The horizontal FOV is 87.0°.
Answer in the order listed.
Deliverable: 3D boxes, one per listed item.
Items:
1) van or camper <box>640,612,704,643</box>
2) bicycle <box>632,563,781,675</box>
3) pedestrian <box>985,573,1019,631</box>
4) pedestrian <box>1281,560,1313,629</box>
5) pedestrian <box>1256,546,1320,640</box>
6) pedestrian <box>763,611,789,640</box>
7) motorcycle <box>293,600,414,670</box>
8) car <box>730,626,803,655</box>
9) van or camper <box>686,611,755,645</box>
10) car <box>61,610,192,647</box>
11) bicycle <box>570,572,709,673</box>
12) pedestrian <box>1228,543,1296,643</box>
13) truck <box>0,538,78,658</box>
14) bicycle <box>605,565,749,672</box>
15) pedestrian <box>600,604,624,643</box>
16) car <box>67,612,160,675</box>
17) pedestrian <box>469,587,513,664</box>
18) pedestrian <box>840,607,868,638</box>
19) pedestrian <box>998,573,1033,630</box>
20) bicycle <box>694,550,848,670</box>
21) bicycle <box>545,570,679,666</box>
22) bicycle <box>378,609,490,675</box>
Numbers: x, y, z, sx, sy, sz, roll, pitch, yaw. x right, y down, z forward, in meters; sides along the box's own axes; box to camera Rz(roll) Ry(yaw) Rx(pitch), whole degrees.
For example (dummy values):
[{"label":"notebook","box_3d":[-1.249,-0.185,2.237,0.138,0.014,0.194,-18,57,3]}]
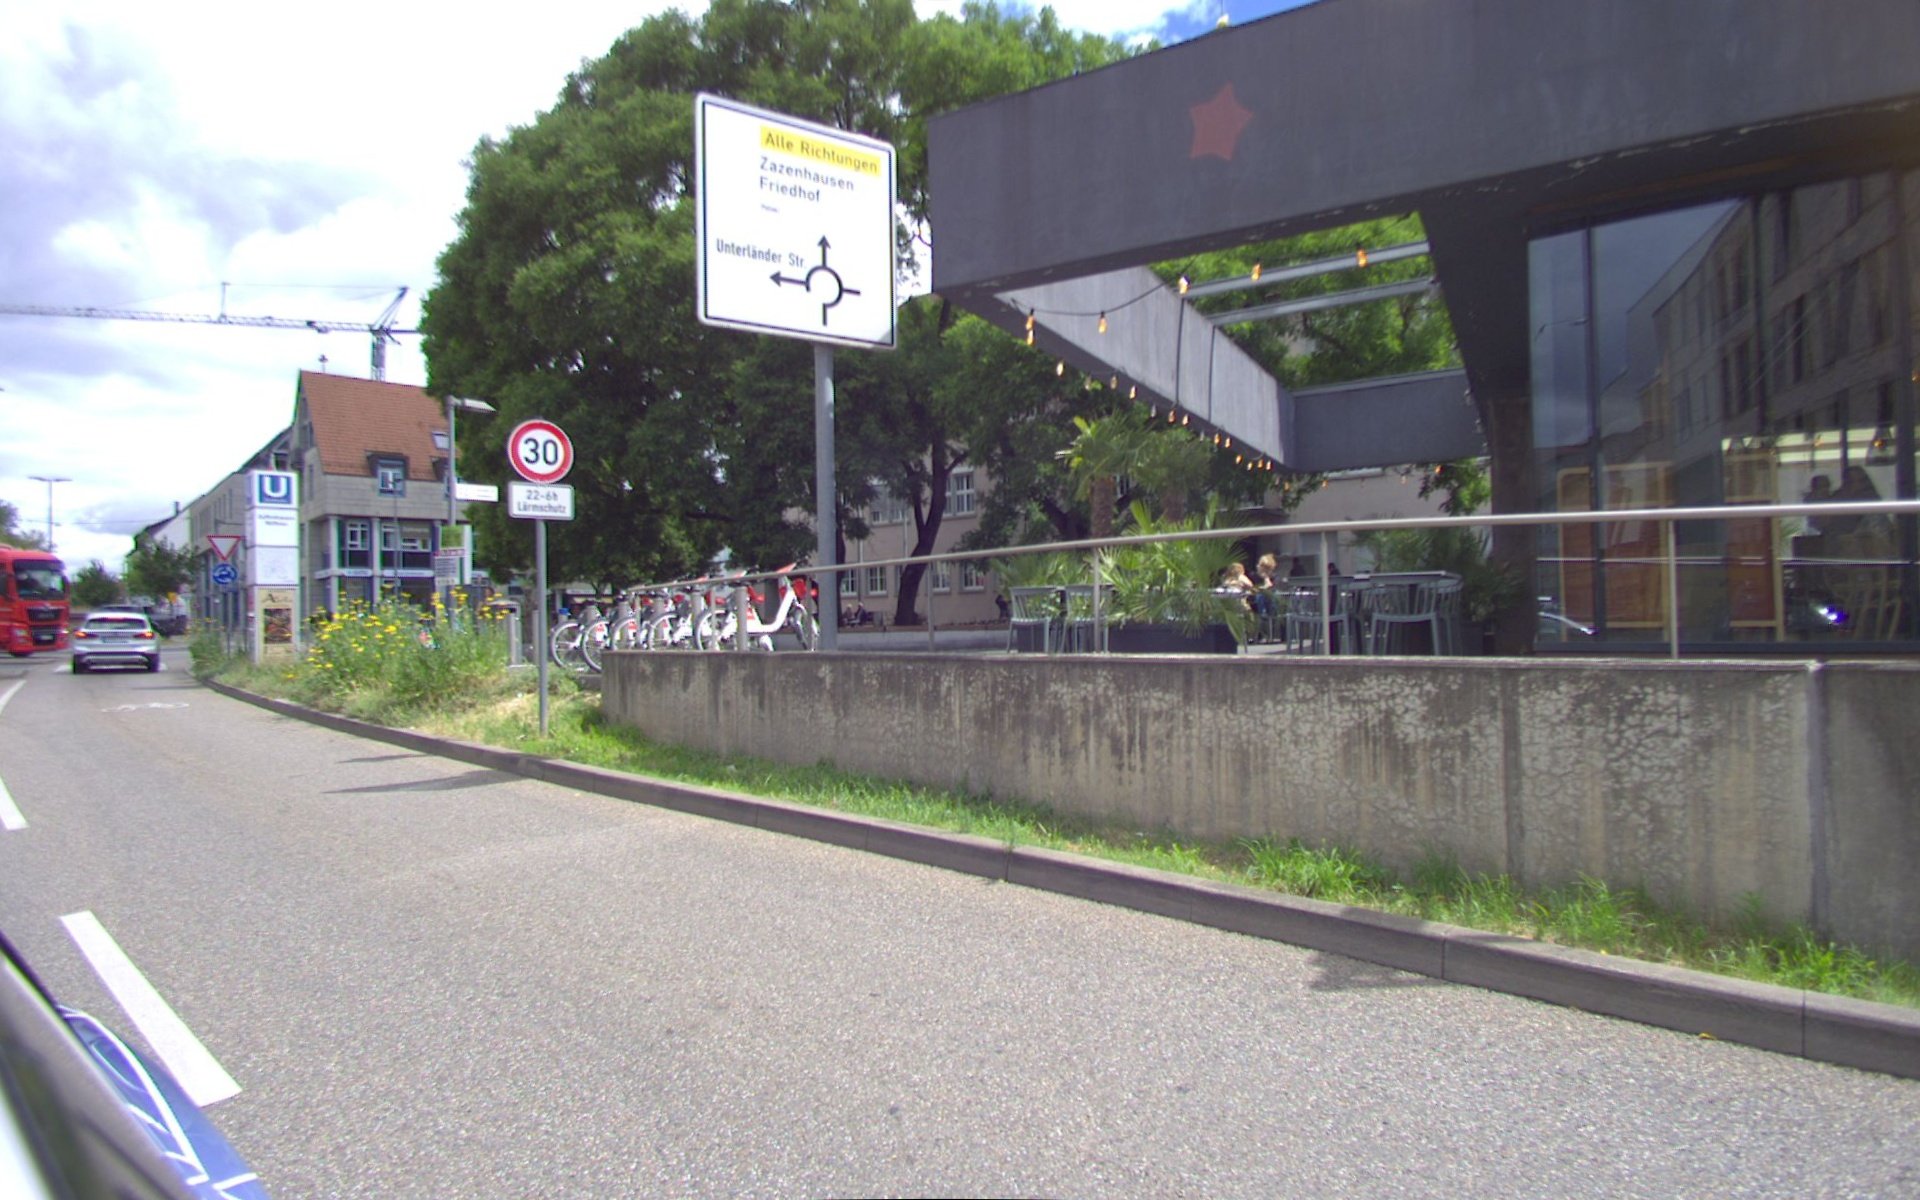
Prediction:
[{"label":"van or camper","box_3d":[-22.983,2.211,80.823,4.638,2.400,1.988,-1,-1,19]},{"label":"bicycle","box_3d":[-2.734,0.204,11.010,0.533,1.136,1.529,-2,-2,43]},{"label":"pedestrian","box_3d":[1.396,0.073,33.671,0.829,1.864,0.652,-4,-2,43]},{"label":"pedestrian","box_3d":[9.049,-0.147,27.142,0.593,1.821,0.635,0,1,43]},{"label":"pedestrian","box_3d":[5.076,-0.111,15.637,0.790,1.390,0.792,0,1,30]},{"label":"pedestrian","box_3d":[-7.952,1.106,43.722,0.690,1.184,0.807,-3,-2,38]},{"label":"motorcycle","box_3d":[-13.221,0.745,22.116,0.648,1.460,2.166,0,-1,41]},{"label":"car","box_3d":[-11.619,2.404,60.921,4.011,1.551,1.750,-1,1,-40]},{"label":"van or camper","box_3d":[-17.910,2.099,75.749,4.638,2.400,1.988,-1,-1,19]},{"label":"car","box_3d":[-41.989,1.420,51.070,4.811,1.666,1.751,-1,1,-12]},{"label":"bicycle","box_3d":[-3.822,0.259,12.142,0.533,1.136,1.529,-2,-2,43]},{"label":"pedestrian","box_3d":[4.391,-0.105,14.693,0.790,1.390,0.792,0,1,30]},{"label":"truck","box_3d":[-36.091,-0.006,33.591,10.680,3.871,2.686,-1,1,-6]},{"label":"bicycle","box_3d":[-3.204,0.207,11.537,0.533,1.136,1.529,-2,-2,43]},{"label":"pedestrian","box_3d":[-15.607,1.060,45.375,0.816,1.688,0.682,-3,-2,40]},{"label":"car","box_3d":[-23.088,1.150,27.689,1.799,1.597,4.173,2,-2,-39]},{"label":"pedestrian","box_3d":[-10.238,0.559,22.094,0.651,1.641,0.801,-1,-2,-40]},{"label":"pedestrian","box_3d":[-4.267,0.908,40.728,0.690,1.235,0.807,-3,-2,38]},{"label":"pedestrian","box_3d":[1.870,0.053,34.148,0.878,1.864,0.652,-4,-2,44]},{"label":"bicycle","box_3d":[-1.908,0.104,10.347,0.533,1.136,1.529,-2,-2,43]},{"label":"bicycle","box_3d":[-4.350,0.225,12.715,0.533,1.136,1.529,-2,-2,43]},{"label":"bicycle","box_3d":[-9.202,0.716,17.743,0.514,1.090,1.670,-4,-3,38]}]
